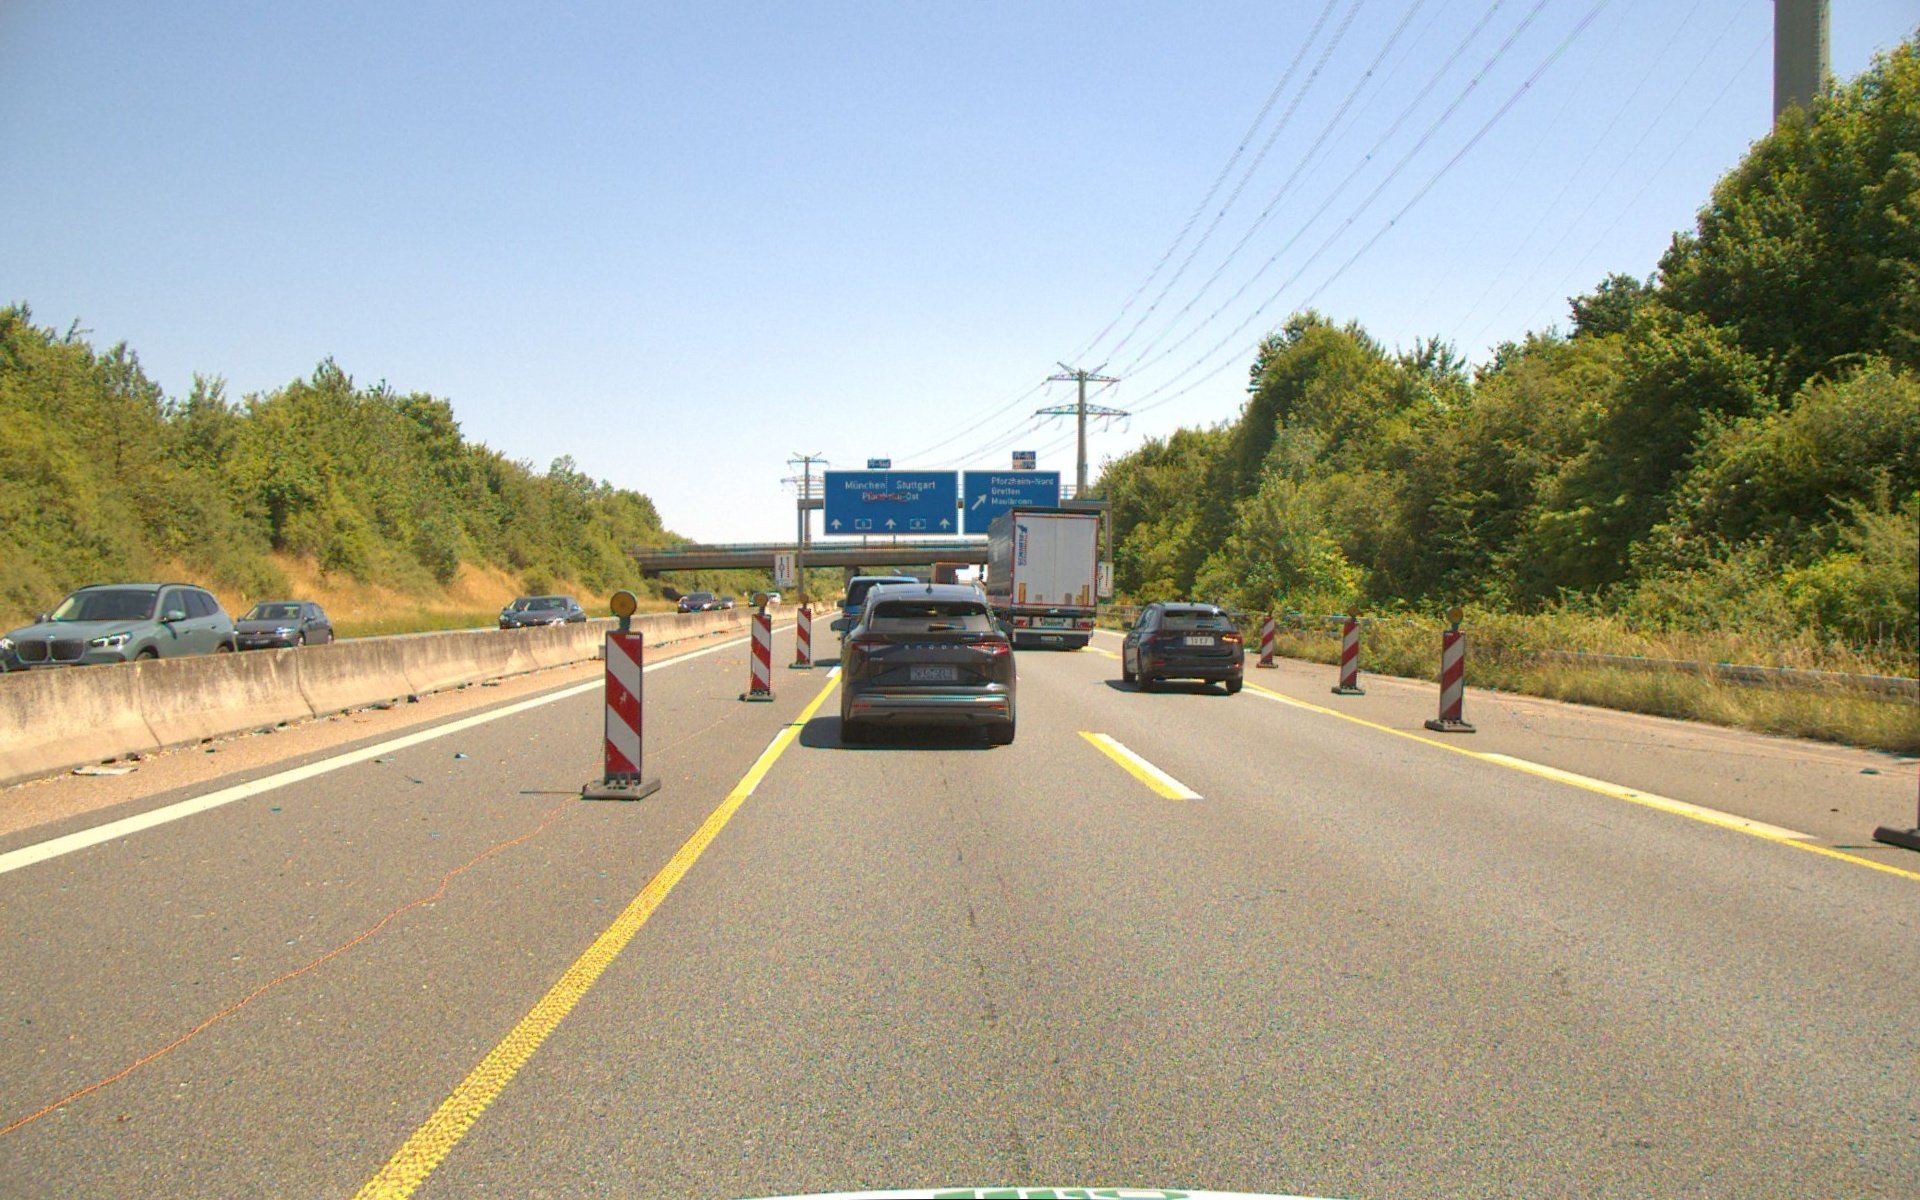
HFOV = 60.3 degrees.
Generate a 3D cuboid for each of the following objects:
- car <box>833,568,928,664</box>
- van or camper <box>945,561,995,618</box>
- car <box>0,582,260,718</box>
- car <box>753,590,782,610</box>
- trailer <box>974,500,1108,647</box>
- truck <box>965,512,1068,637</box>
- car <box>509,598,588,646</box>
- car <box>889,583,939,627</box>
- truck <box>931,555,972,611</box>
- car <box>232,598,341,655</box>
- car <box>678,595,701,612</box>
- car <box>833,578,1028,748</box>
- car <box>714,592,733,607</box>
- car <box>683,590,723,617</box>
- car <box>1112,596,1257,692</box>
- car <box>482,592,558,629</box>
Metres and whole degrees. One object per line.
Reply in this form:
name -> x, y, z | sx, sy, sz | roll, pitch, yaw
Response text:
car -> -1.752, 0.365, 36.416 | 1.858, 1.873, 4.439 | 4, -1, -3
van or camper -> 0.536, -0.605, 95.850 | 2.534, 3.019, 6.083 | 4, 0, -1
car -> -11.819, 0.640, 23.700 | 1.805, 1.744, 4.394 | -1, 0, -2
car -> -15.621, -0.002, 134.077 | 1.953, 1.628, 4.581 | 0, 0, -2
trailer -> 2.350, -0.778, 52.710 | 3.004, 4.113, 11.479 | 1, 0, -3
truck -> 1.914, -0.873, 59.642 | 2.964, 4.158, 7.790 | 1, 0, -3
car -> -13.133, 0.681, 52.981 | 1.583, 1.467, 3.989 | 0, 0, -1
car -> -1.894, 0.172, 67.030 | 1.858, 1.535, 4.441 | 3, 2, -3
truck -> -0.765, -1.318, 133.071 | 3.015, 4.219, 13.051 | 2, 0, -1
car -> -17.744, 0.661, 43.774 | 1.473, 1.421, 4.086 | -1, 0, -4
car -> -24.340, 0.319, 148.779 | 1.542, 1.490, 3.777 | 0, 0, -2
car -> -0.392, 0.587, 18.181 | 1.858, 1.620, 4.440 | 1, 0, -3
car -> -25.016, -0.089, 175.120 | 1.469, 1.575, 3.999 | 0, 0, -2
car -> -14.644, 0.183, 94.454 | 1.812, 1.486, 4.486 | -1, 0, -3
car -> 3.836, 0.709, 28.973 | 1.743, 1.515, 4.462 | 2, 0, -2
car -> -18.243, 0.413, 68.789 | 1.953, 1.486, 4.586 | -1, 0, -1
